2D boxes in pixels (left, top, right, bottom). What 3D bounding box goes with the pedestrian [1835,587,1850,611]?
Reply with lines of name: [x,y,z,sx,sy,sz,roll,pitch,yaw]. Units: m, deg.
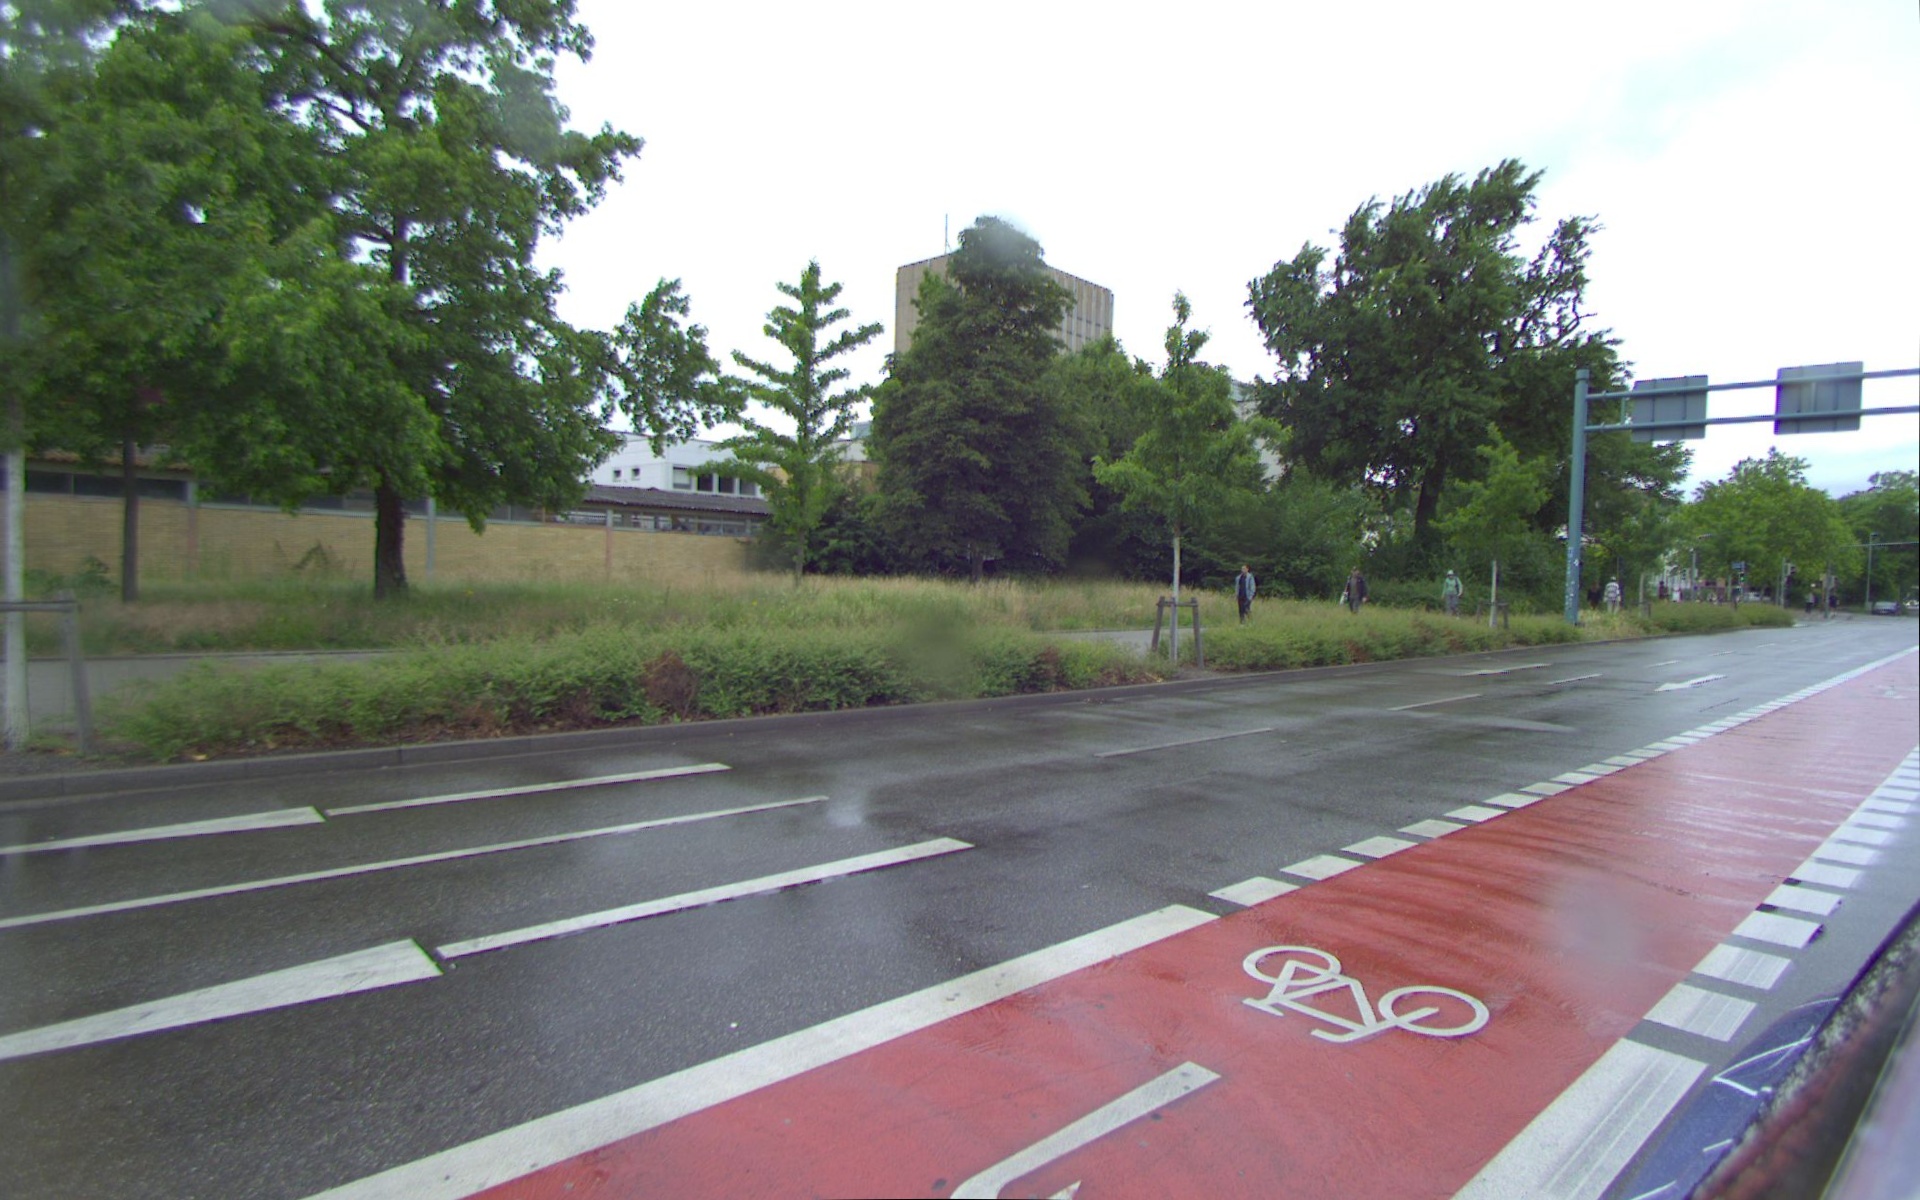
pedestrian: [70.022,-0.092,80.270,0.618,1.847,0.780,2,1,25]

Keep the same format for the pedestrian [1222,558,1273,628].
pedestrian: [7.618,-0.194,26.835,0.813,1.819,0.936,1,2,-37]

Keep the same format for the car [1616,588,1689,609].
car: [52.901,-0.150,77.308,4.376,1.353,1.746,3,5,44]

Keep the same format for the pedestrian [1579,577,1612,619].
pedestrian: [27.036,-0.081,43.061,0.813,1.725,0.935,4,-2,-39]

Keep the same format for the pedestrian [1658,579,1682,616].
pedestrian: [37.193,-0.117,53.015,0.835,1.882,0.732,1,1,-37]

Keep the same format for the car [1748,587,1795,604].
car: [97.667,-0.547,121.839,4.406,1.896,1.615,3,2,39]

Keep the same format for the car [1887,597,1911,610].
car: [96.266,0.345,103.774,1.657,1.282,4.040,3,2,45]

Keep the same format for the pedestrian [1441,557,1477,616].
pedestrian: [17.600,-0.475,35.666,0.813,2.038,0.793,1,1,-37]

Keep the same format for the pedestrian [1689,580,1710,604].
pedestrian: [51.072,-0.565,69.887,0.866,1.627,0.858,2,1,20]

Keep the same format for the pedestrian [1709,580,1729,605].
pedestrian: [51.973,-0.522,69.312,0.868,1.627,0.856,2,1,25]

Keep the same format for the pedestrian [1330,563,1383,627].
pedestrian: [11.218,-0.147,28.657,1.026,1.769,0.936,1,2,-37]

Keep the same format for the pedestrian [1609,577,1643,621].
pedestrian: [27.619,-0.051,41.980,0.813,1.743,0.935,4,-2,-39]

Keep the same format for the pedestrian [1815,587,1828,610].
pedestrian: [68.822,-0.138,80.866,0.620,1.847,0.778,2,1,32]
